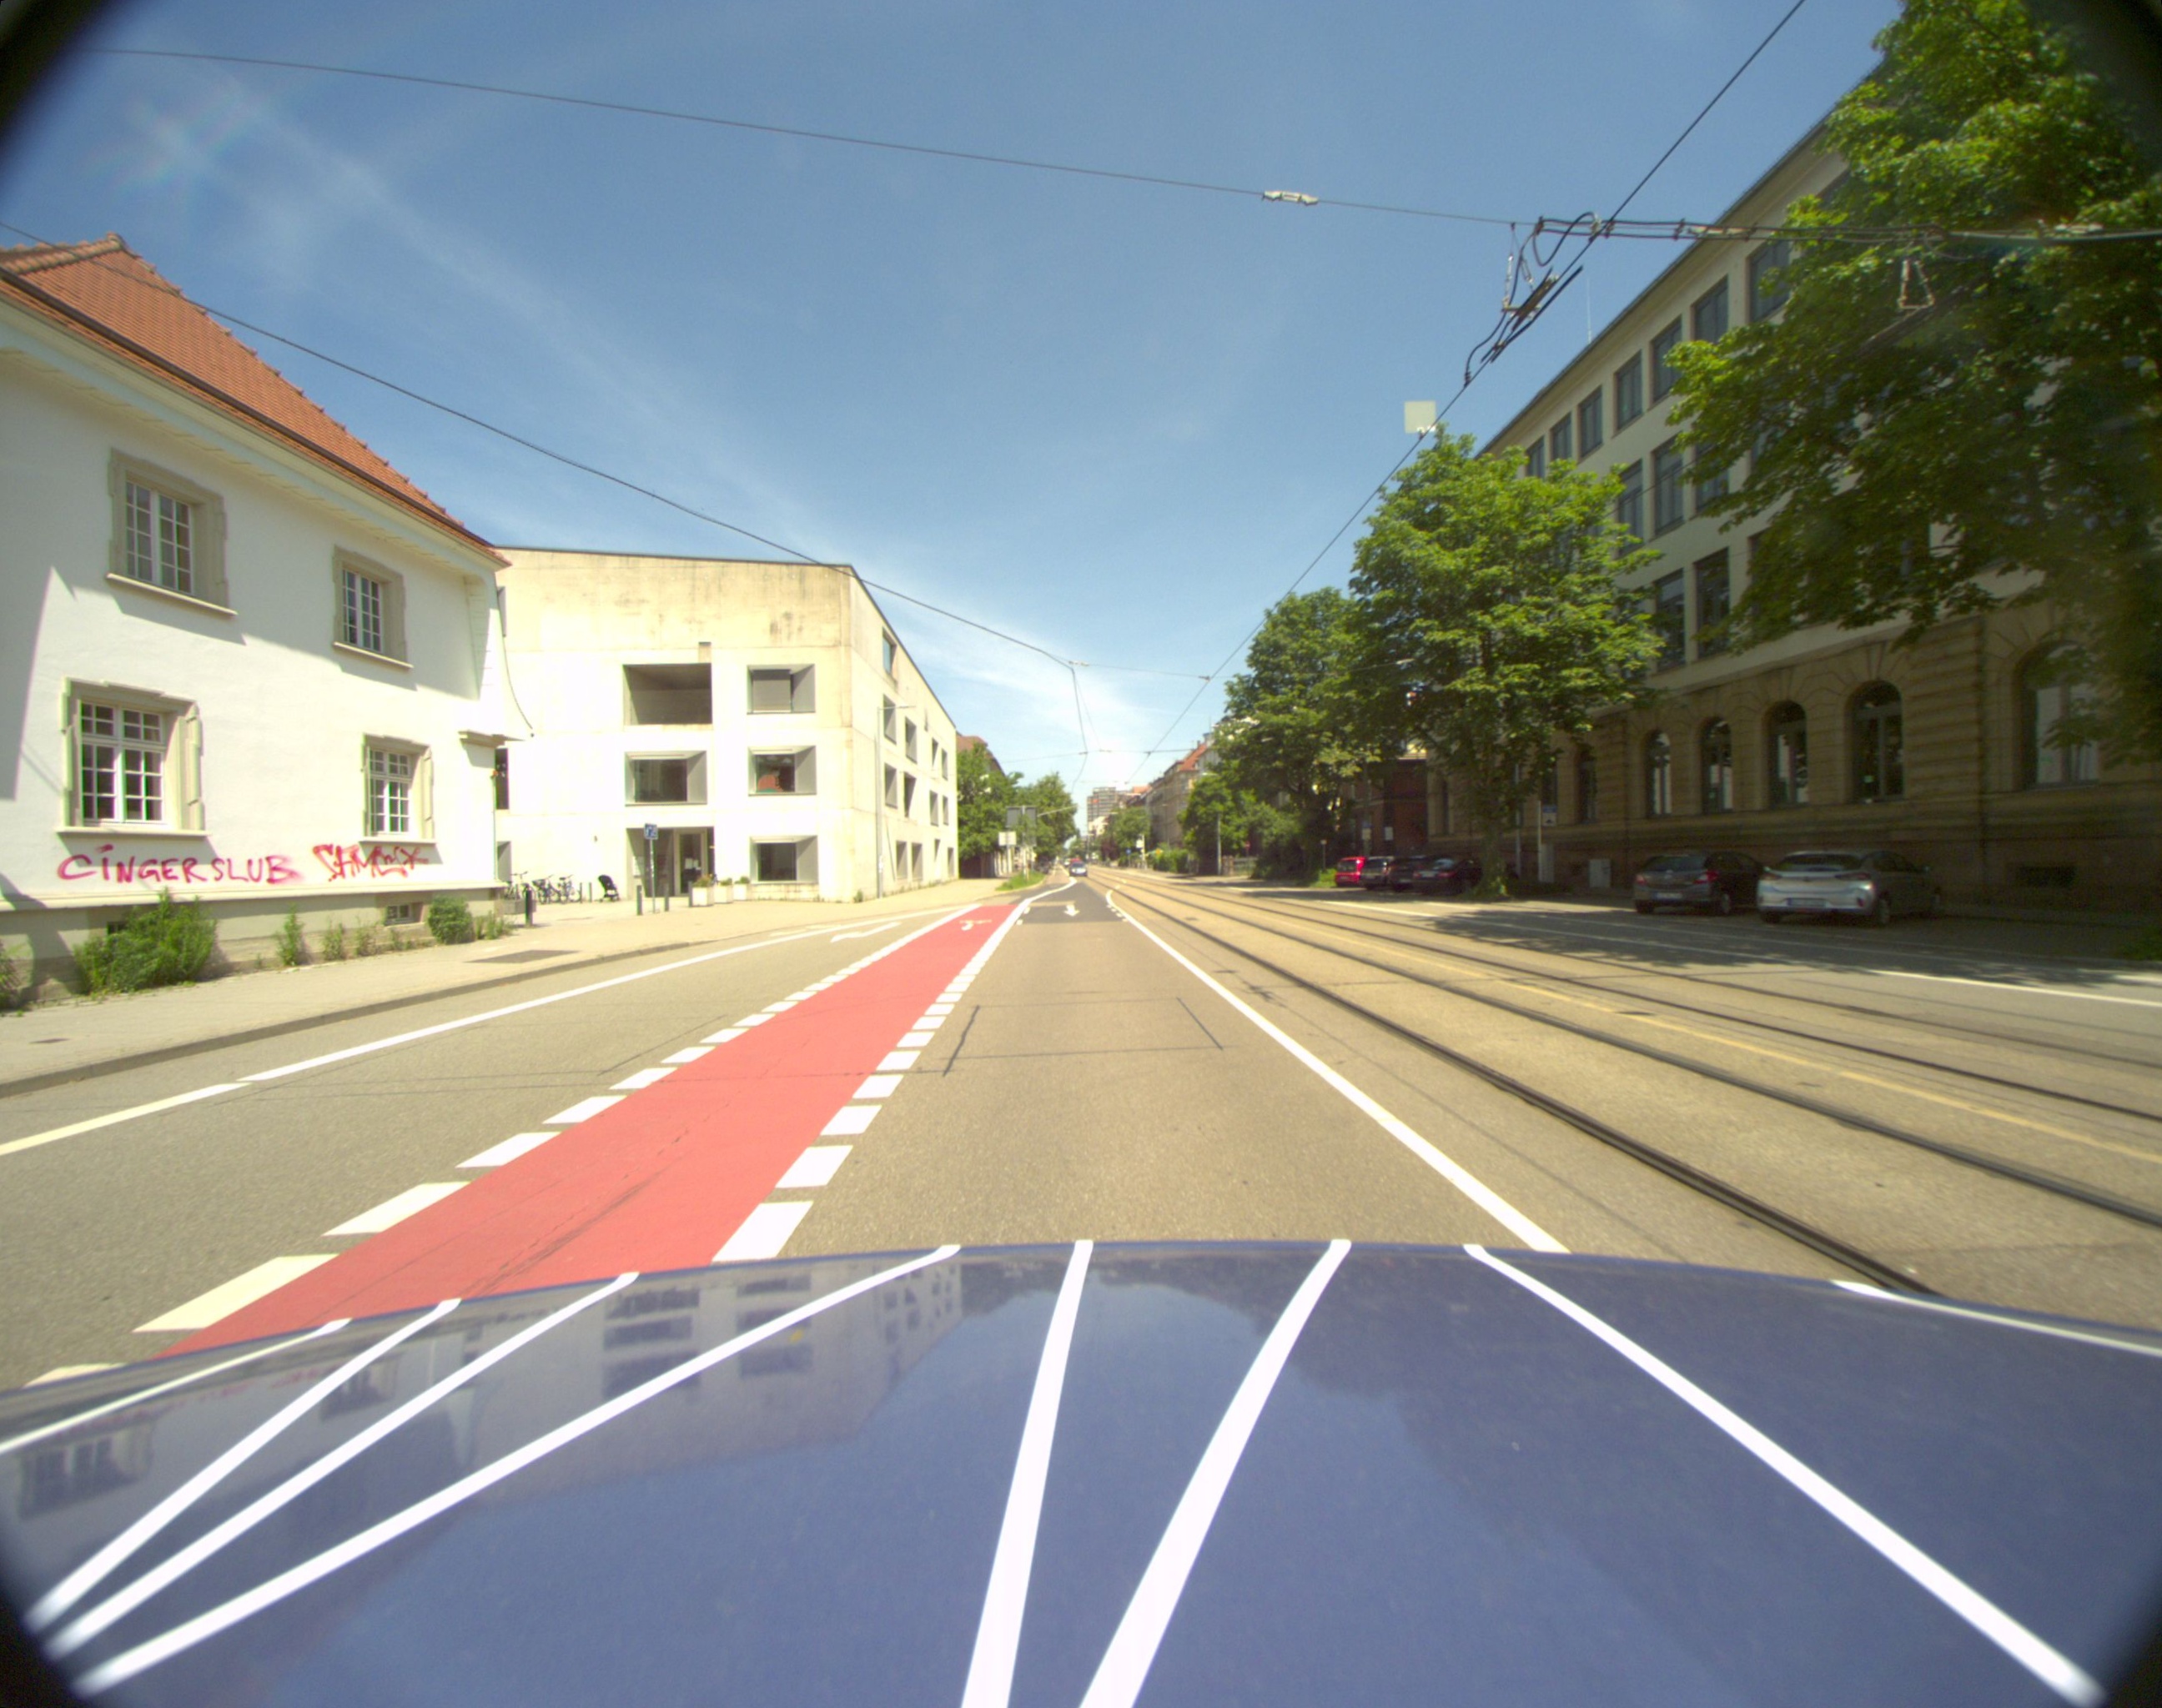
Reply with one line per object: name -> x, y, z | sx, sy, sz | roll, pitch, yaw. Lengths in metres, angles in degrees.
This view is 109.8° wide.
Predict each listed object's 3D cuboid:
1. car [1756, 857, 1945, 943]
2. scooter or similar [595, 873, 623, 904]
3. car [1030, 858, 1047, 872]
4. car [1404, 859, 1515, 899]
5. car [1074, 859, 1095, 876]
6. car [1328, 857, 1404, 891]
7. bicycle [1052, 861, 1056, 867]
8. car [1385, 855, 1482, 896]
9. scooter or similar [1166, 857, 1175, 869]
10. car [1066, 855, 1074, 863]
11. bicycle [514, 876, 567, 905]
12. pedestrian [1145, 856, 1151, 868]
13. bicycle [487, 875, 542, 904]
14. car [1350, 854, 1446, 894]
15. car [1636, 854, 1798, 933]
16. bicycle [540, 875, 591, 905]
car -> 14.940, 0.811, 14.741 | 3.554, 1.397, 1.698 | -2, 0, -30
scooter or similar -> -18.304, 1.329, 29.459 | 0.534, 1.133, 0.963 | -1, 1, -7
car -> -4.992, 1.264, 90.238 | 1.864, 1.567, 4.877 | -1, -1, -1
car -> 14.058, 0.887, 28.214 | 3.939, 1.366, 1.666 | -1, 0, -27
car -> 0.287, 1.291, 75.278 | 1.893, 1.561, 4.036 | -2, 1, -1
car -> 14.060, 0.949, 37.465 | 3.357, 1.507, 1.666 | -2, 0, -27
bicycle -> -5.261, 1.989, 147.899 | 0.284, 1.193, 1.625 | -2, 1, -21
car -> 14.536, 0.861, 31.303 | 3.824, 1.567, 1.789 | -1, 0, -31
scooter or similar -> 11.230, 1.159, 95.208 | 1.011, 1.442, 0.597 | -2, 1, -2
car -> -2.444, 1.068, 165.186 | 1.620, 1.700, 3.429 | -2, 1, 0
bicycle -> -20.330, 1.360, 28.642 | 0.653, 0.979, 2.199 | -1, 0, -7
pedestrian -> 9.837, 1.167, 111.179 | 0.742, 1.632, 0.939 | -1, 0, 1
bicycle -> -21.446, 1.333, 28.833 | 0.653, 0.979, 2.199 | -1, 0, -7
car -> 14.275, 0.861, 34.164 | 4.328, 1.575, 1.665 | -2, 1, -31
car -> 14.736, 0.840, 17.574 | 3.682, 1.511, 1.665 | -3, 1, -30
bicycle -> -19.503, 1.352, 28.789 | 0.653, 0.998, 2.199 | -1, 0, -7
